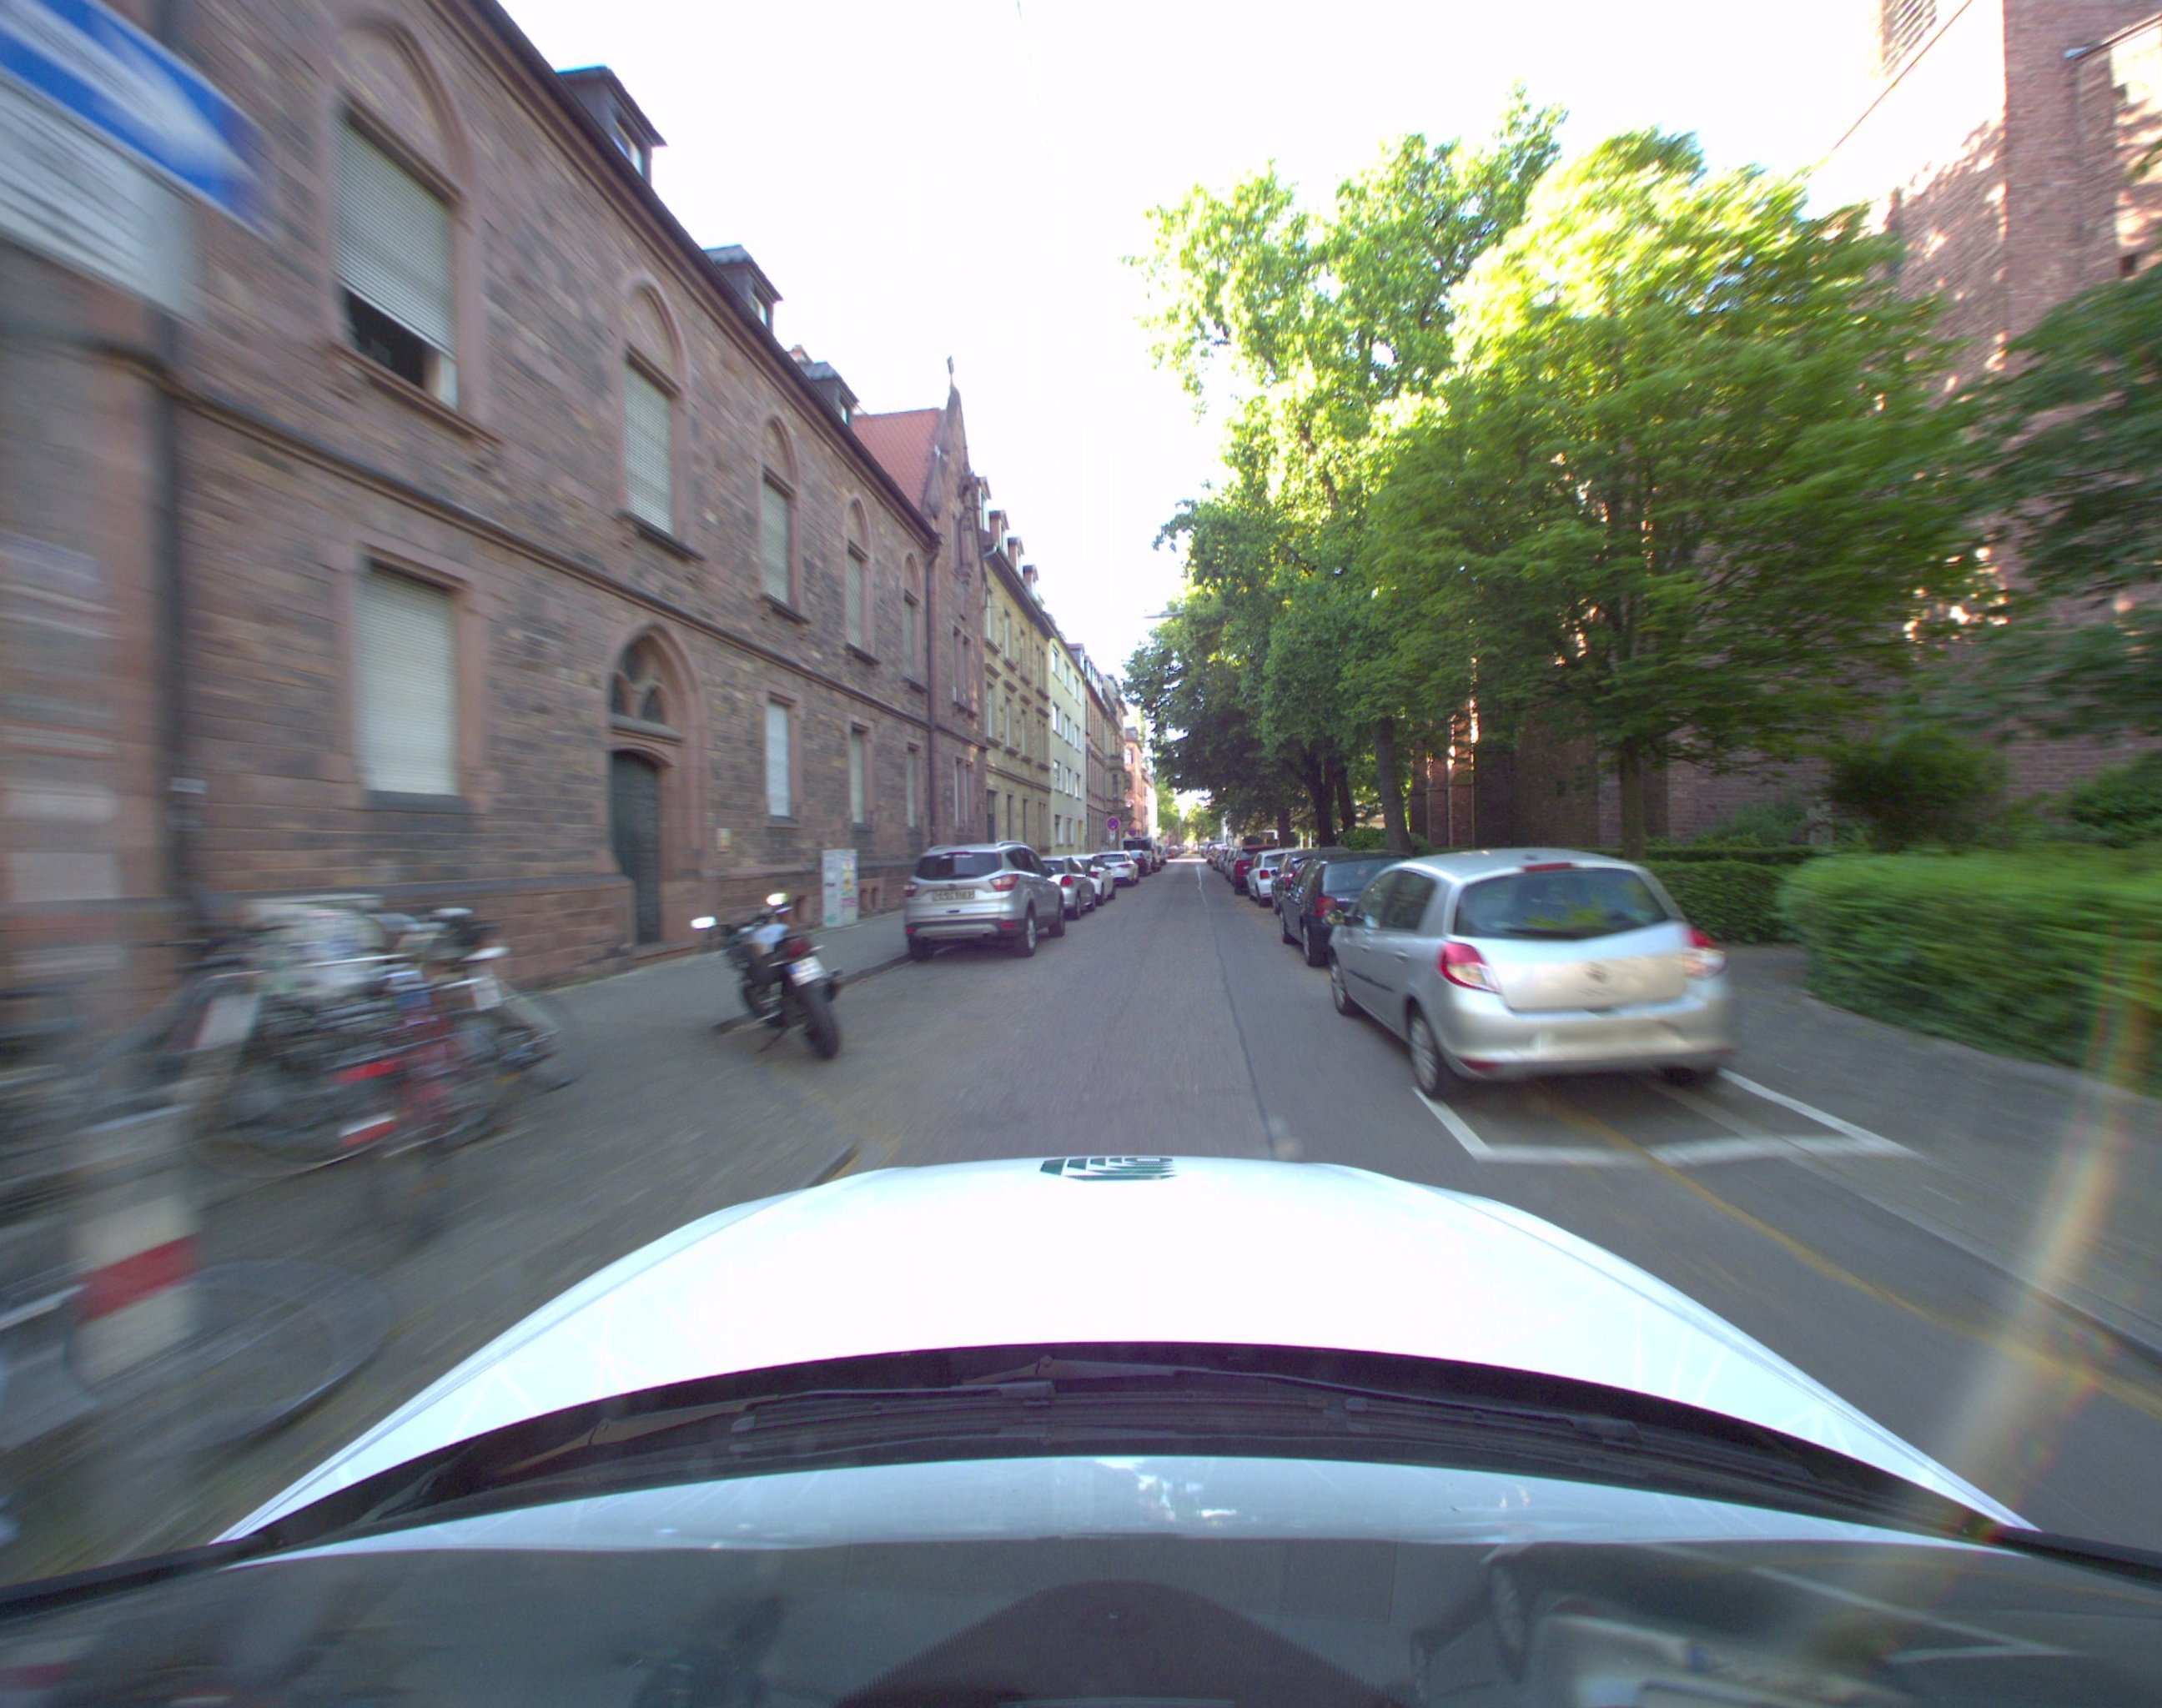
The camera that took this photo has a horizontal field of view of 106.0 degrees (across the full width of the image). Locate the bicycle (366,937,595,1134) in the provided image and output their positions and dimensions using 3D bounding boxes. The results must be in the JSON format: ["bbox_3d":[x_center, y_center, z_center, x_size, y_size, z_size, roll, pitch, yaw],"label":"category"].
[{"bbox_3d":[-3.626,1.040,5.054,0.232,0.906,1.423,1,0,6],"label":"bicycle"}]

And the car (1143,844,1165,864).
[{"bbox_3d":[5.977,-0.028,66.926,1.684,1.514,3.979,-3,0,5],"label":"car"}]

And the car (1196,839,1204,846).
[{"bbox_3d":[27.642,-2.596,189.717,1.667,1.487,3.645,-3,0,7],"label":"car"}]

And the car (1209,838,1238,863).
[{"bbox_3d":[10.715,-0.235,61.484,1.612,1.624,3.868,-6,-1,4],"label":"car"}]

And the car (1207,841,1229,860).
[{"bbox_3d":[12.039,-0.349,71.809,1.710,1.571,3.835,-1,0,6],"label":"car"}]

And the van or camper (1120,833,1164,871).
[{"bbox_3d":[3.899,-0.183,50.980,2.164,2.147,5.168,-3,0,9],"label":"van or camper"}]

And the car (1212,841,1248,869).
[{"bbox_3d":[9.116,0.069,49.982,1.667,1.441,4.703,-6,-1,6],"label":"car"}]

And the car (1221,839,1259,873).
[{"bbox_3d":[8.014,0.103,41.304,1.590,1.468,3.572,-6,-1,8],"label":"car"}]

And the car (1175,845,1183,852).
[{"bbox_3d":[22.766,-1.386,188.629,1.667,1.487,4.103,-3,0,7],"label":"car"}]

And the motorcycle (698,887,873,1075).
[{"bbox_3d":[-2.556,0.937,6.835,0.705,1.251,2.301,-2,0,-37],"label":"motorcycle"}]

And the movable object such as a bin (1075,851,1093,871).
[{"bbox_3d":[0.166,0.393,45.460,0.831,1.088,0.677,-1,-1,11],"label":"movable object such as a bin"}]

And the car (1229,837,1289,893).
[{"bbox_3d":[5.929,0.333,27.433,1.654,1.586,4.112,-6,-1,10],"label":"car"}]

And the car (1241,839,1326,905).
[{"bbox_3d":[5.536,0.462,22.678,1.656,1.520,3.958,-6,-1,6],"label":"car"}]

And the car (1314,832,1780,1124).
[{"bbox_3d":[3.032,0.679,6.296,1.700,1.520,3.839,-3,0,7],"label":"car"}]

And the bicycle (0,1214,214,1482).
[{"bbox_3d":[-2.955,1.367,1.927,0.448,0.443,1.199,0,3,5],"label":"bicycle"}]

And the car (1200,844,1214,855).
[{"bbox_3d":[17.727,-0.649,114.623,1.667,1.506,3.946,-3,0,7],"label":"car"}]

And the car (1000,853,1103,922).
[{"bbox_3d":[-0.588,0.726,19.505,1.699,1.417,3.813,-3,0,9],"label":"car"}]

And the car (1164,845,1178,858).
[{"bbox_3d":[11.146,-0.333,100.519,1.619,1.481,3.609,-3,0,7],"label":"car"}]

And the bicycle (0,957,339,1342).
[{"bbox_3d":[-3.509,1.006,3.053,0.232,1.042,1.199,0,2,5],"label":"bicycle"}]

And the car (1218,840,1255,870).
[{"bbox_3d":[8.686,0.053,45.696,1.591,1.505,3.634,-6,-1,6],"label":"car"}]

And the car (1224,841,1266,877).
[{"bbox_3d":[7.383,0.223,36.902,1.590,1.470,3.878,-3,0,8],"label":"car"}]

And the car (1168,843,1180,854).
[{"bbox_3d":[15.360,-0.957,134.745,1.755,1.785,4.047,-3,0,7],"label":"car"}]

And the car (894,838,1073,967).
[{"bbox_3d":[-1.363,0.666,13.219,1.699,1.674,4.288,-3,0,9],"label":"car"}]

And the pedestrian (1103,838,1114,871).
[{"bbox_3d":[1.476,0.020,44.119,0.485,1.803,1.117,1,1,6],"label":"pedestrian"}]

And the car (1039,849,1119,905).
[{"bbox_3d":[0.027,0.612,23.955,1.699,1.417,3.813,-3,0,9],"label":"car"}]

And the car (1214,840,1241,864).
[{"bbox_3d":[10.236,-0.132,57.004,1.610,1.486,3.784,-6,-1,8],"label":"car"}]

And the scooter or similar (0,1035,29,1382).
[{"bbox_3d":[-3.479,0.998,1.872,0.442,1.174,1.168,-1,3,8],"label":"scooter or similar"}]

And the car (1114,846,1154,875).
[{"bbox_3d":[2.957,0.304,44.670,1.720,1.402,4.327,-3,0,9],"label":"car"}]

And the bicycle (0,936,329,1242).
[{"bbox_3d":[-4.332,0.998,3.711,0.232,1.042,1.456,0,3,10],"label":"bicycle"}]

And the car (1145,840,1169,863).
[{"bbox_3d":[6.695,-0.230,71.709,1.821,1.811,4.582,-3,0,8],"label":"car"}]

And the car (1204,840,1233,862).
[{"bbox_3d":[11.237,-0.252,66.728,1.732,1.603,4.269,-6,-1,4],"label":"car"}]

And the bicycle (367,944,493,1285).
[{"bbox_3d":[-2.857,1.004,3.649,0.235,1.042,1.666,1,-1,-32],"label":"bicycle"}]

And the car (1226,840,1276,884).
[{"bbox_3d":[6.749,0.290,32.634,1.590,1.505,3.729,-6,-1,8],"label":"car"}]

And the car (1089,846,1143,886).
[{"bbox_3d":[1.525,0.434,33.942,1.721,1.456,4.531,-3,0,8],"label":"car"}]

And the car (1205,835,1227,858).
[{"bbox_3d":[12.879,-0.701,77.436,1.902,1.998,4.805,-3,0,10],"label":"car"}]

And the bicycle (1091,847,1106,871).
[{"bbox_3d":[0.970,0.282,44.212,0.567,1.243,1.848,2,1,7],"label":"bicycle"}]

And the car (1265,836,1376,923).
[{"bbox_3d":[5.055,0.483,17.651,1.654,1.520,4.070,-6,-1,9],"label":"car"}]

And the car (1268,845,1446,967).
[{"bbox_3d":[3.814,0.638,11.937,1.613,1.436,4.010,-3,0,7],"label":"car"}]

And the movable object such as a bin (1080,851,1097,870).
[{"bbox_3d":[0.433,0.389,46.906,0.795,1.088,0.668,-1,-1,11],"label":"movable object such as a bin"}]

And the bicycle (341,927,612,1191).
[{"bbox_3d":[-3.056,0.971,4.239,0.231,1.042,1.203,0,1,19],"label":"bicycle"}]

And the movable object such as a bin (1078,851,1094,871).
[{"bbox_3d":[0.298,0.386,46.199,0.795,1.088,0.668,-1,-1,11],"label":"movable object such as a bin"}]

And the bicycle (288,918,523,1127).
[{"bbox_3d":[-4.165,0.977,5.133,0.232,1.042,1.299,0,0,10],"label":"bicycle"}]
